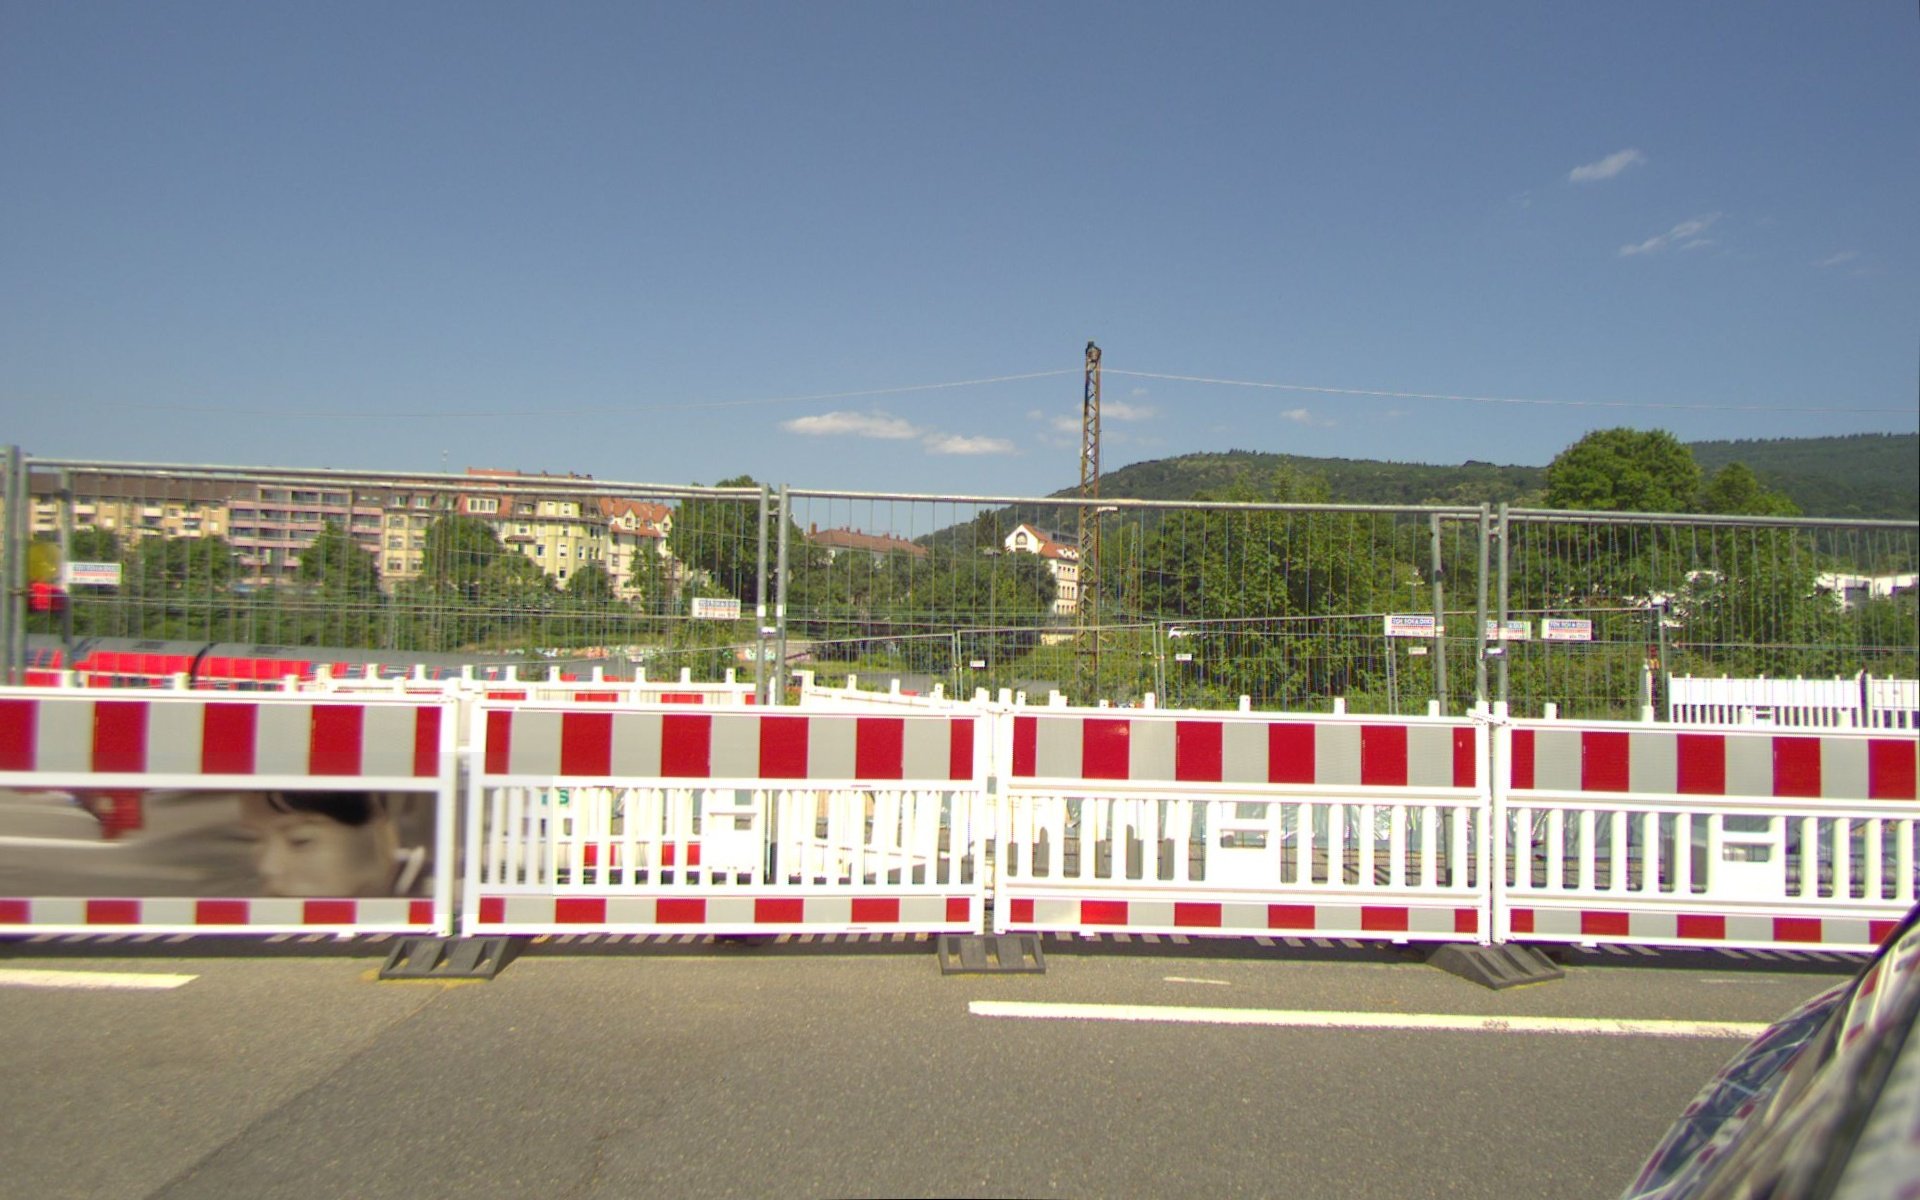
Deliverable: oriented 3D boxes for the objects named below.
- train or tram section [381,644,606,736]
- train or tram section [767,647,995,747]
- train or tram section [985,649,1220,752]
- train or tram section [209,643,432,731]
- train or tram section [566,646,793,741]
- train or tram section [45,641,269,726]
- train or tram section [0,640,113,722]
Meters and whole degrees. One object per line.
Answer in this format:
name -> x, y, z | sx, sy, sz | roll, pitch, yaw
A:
train or tram section -> -20.506, 3.886, 44.659 | 8.828, 3.753, 3.013 | 0, -4, 10
train or tram section -> -3.140, 3.884, 41.424 | 8.828, 3.764, 3.013 | 0, -4, 10
train or tram section -> 5.546, 3.864, 39.821 | 8.827, 3.751, 3.013 | 0, -4, 10
train or tram section -> -29.151, 3.905, 46.273 | 8.828, 3.753, 3.013 | 0, -4, 10
train or tram section -> -11.837, 3.889, 43.047 | 8.828, 3.761, 3.013 | 0, -4, 10
train or tram section -> -37.862, 3.897, 47.816 | 8.825, 3.753, 3.014 | 0, -4, 9
train or tram section -> -46.596, 3.869, 49.295 | 8.825, 3.753, 3.014 | 0, -4, 9
